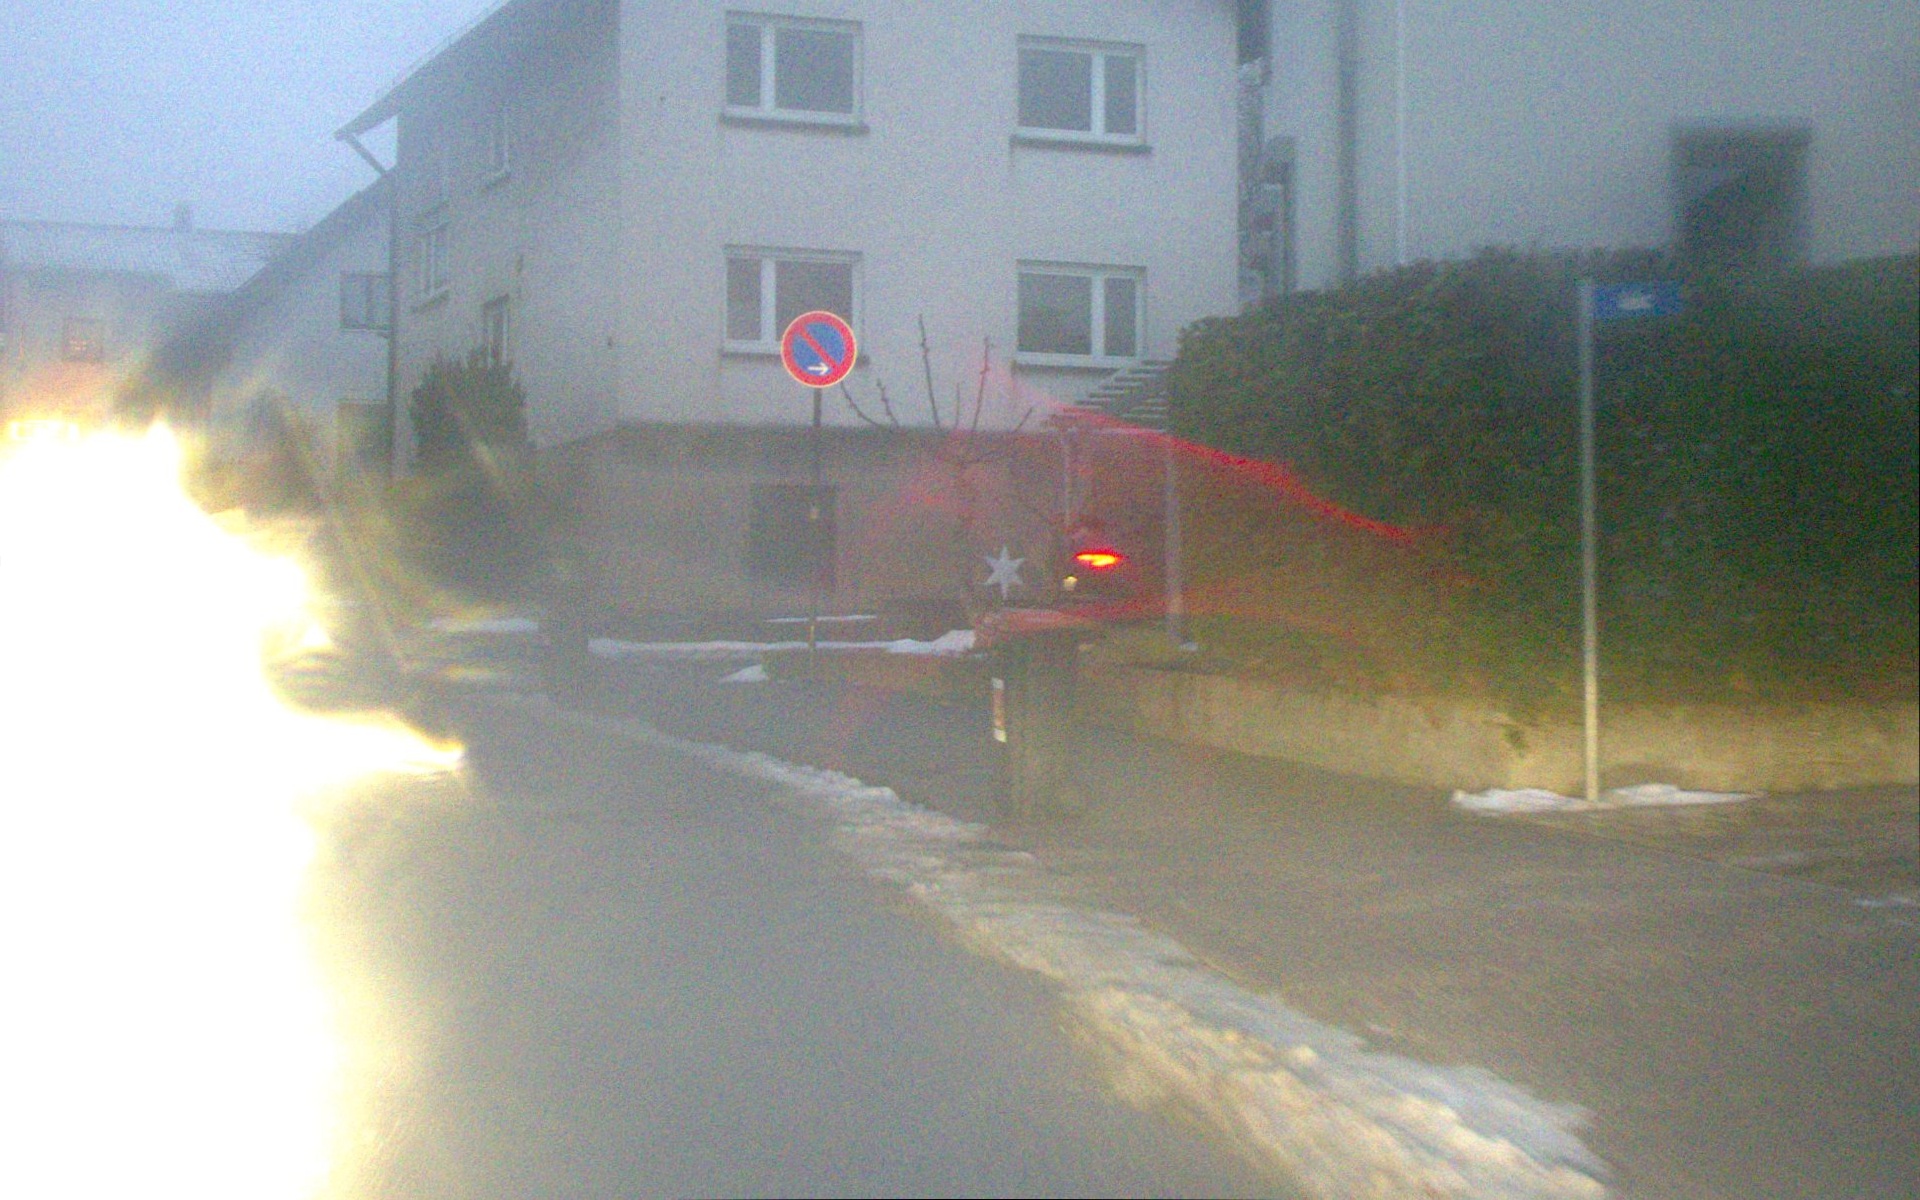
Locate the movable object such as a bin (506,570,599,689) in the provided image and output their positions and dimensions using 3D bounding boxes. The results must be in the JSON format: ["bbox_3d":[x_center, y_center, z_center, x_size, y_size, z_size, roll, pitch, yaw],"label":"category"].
[{"bbox_3d":[-3.254,0.231,27.418,0.637,0.914,0.686,1,1,-15],"label":"movable object such as a bin"}]

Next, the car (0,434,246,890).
[{"bbox_3d":[-5.000,0.218,17.642,2.110,2.020,4.984,0,1,-6],"label":"car"}]

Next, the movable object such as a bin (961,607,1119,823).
[{"bbox_3d":[0.356,0.514,15.621,0.537,0.935,0.690,1,1,-14],"label":"movable object such as a bin"}]

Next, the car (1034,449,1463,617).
[{"bbox_3d":[2.992,-0.706,35.966,3.986,1.612,2.001,1,2,-15],"label":"car"}]
